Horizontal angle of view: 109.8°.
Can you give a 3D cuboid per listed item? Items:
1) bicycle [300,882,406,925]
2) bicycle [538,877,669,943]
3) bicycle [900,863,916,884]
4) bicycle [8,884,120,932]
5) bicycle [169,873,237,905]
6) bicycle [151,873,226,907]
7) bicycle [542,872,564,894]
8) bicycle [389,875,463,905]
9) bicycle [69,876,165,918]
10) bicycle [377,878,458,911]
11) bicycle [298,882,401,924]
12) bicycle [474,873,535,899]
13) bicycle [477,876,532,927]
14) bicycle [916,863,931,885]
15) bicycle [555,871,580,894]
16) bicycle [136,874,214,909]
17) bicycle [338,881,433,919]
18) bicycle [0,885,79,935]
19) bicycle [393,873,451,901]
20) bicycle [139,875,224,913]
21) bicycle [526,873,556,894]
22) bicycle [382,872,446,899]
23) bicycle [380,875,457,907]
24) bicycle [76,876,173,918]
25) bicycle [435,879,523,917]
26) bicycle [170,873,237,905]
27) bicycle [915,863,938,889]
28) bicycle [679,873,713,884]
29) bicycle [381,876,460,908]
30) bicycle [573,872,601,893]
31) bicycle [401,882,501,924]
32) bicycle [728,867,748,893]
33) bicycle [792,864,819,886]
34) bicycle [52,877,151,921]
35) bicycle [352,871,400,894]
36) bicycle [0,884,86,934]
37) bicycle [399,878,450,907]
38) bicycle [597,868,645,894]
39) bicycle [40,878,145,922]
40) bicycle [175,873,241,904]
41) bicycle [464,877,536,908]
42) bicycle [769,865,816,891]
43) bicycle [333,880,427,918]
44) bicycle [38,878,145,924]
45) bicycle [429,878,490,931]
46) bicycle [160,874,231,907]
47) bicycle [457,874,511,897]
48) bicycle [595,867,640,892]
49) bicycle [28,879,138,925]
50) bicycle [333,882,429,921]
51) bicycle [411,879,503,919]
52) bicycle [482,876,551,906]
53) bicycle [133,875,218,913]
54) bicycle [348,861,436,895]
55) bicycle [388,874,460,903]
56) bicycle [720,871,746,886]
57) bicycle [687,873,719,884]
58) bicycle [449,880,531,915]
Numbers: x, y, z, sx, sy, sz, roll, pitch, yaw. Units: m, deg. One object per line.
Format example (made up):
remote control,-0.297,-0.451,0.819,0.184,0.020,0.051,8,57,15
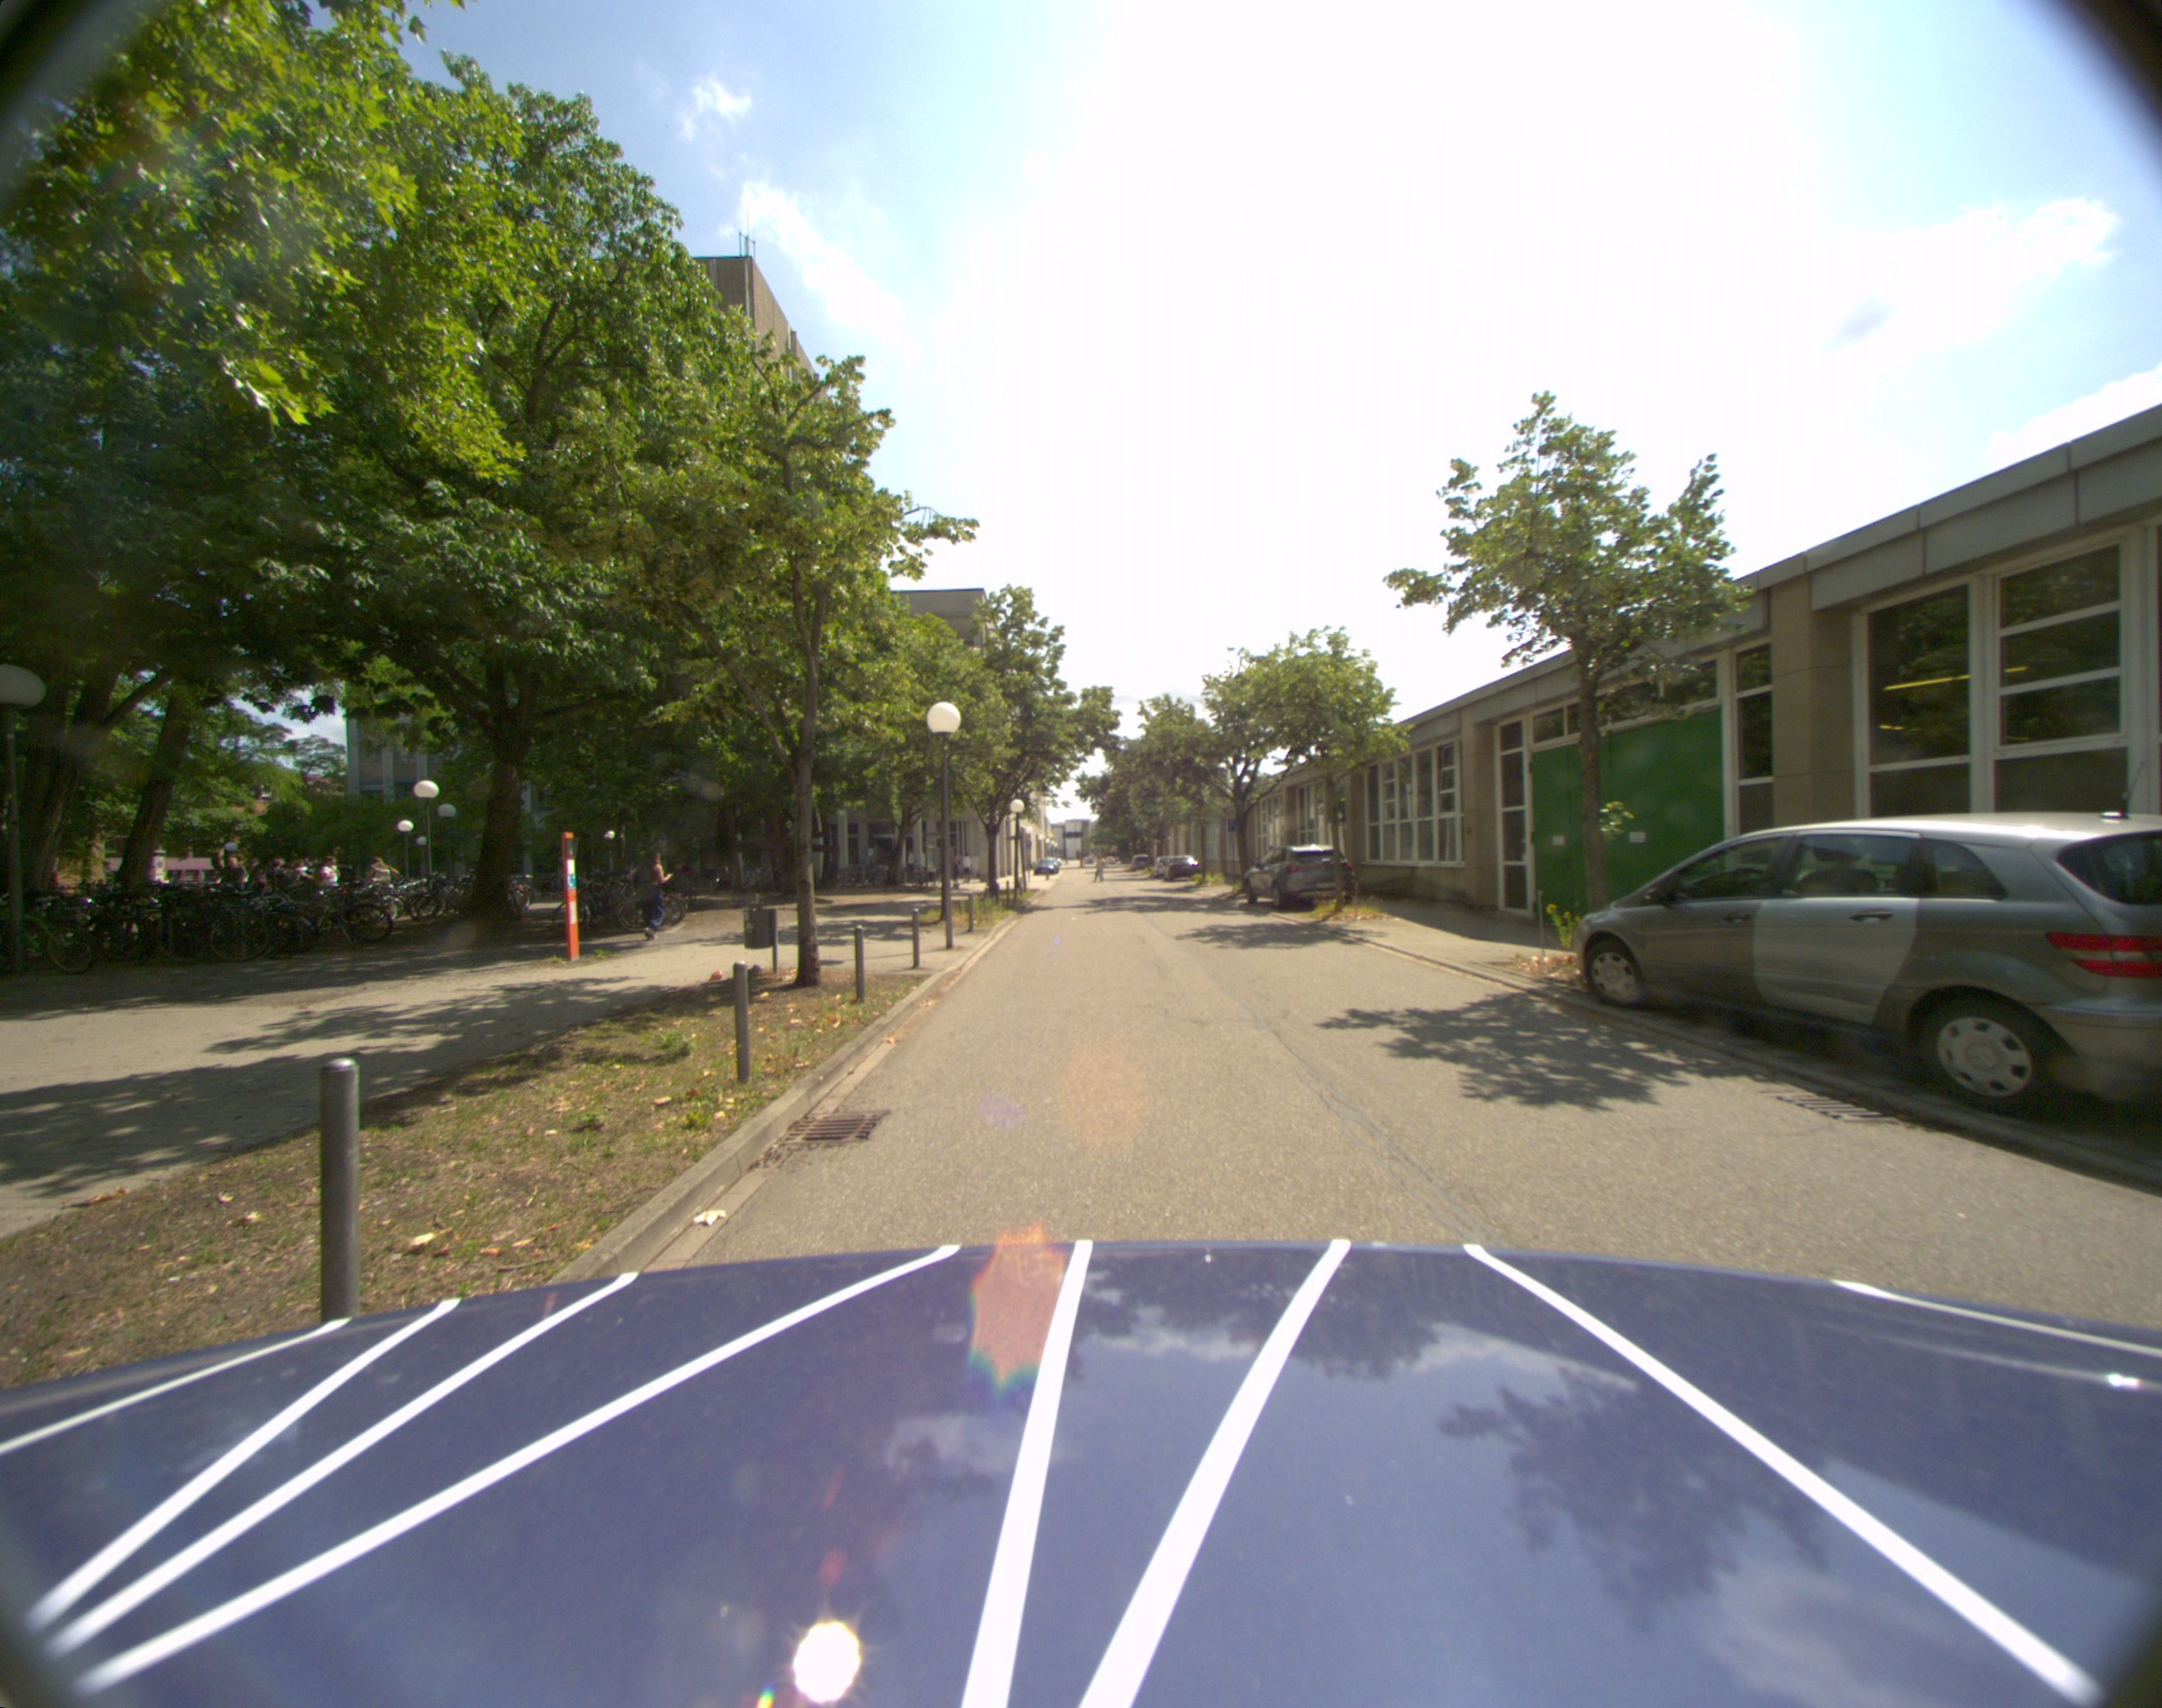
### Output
bicycle,-18.633,1.251,19.509,1.907,0.973,0.477,-1,1,-39
bicycle,-9.175,1.061,14.683,2.021,1.160,0.651,-1,0,-12
bicycle,-9.470,1.066,41.632,0.561,1.134,1.490,0,-1,-2
bicycle,-24.630,1.286,18.431,1.614,1.087,0.347,0,1,-29
bicycle,-32.274,1.284,27.966,0.347,1.087,1.615,0,1,41
bicycle,-30.237,1.222,25.765,1.614,1.087,0.347,-1,1,-37
bicycle,-26.945,1.473,38.769,0.353,1.077,1.470,-2,0,-12
bicycle,-22.884,1.249,26.574,1.907,0.973,0.378,0,1,-30
bicycle,-26.581,1.182,20.976,1.614,1.087,0.347,0,1,-29
bicycle,-21.387,1.291,24.524,1.907,0.973,0.378,0,1,-30
bicycle,-19.003,1.254,19.793,1.907,0.973,0.377,-1,1,-39
bicycle,-23.084,1.270,30.459,1.907,0.973,0.477,-1,1,-38
bicycle,-13.416,1.073,17.722,0.479,1.076,1.900,-1,0,-20
bicycle,-8.544,1.062,41.378,0.561,1.135,1.489,0,1,-2
bicycle,-25.976,1.440,38.455,0.352,1.077,1.471,-1,0,-3
bicycle,-29.908,1.221,25.114,1.614,1.087,0.347,-1,1,-37
bicycle,-19.248,1.261,21.087,1.907,0.973,0.377,-1,1,-39
bicycle,-24.328,1.281,17.392,1.614,1.087,0.477,0,1,-29
bicycle,-24.522,1.205,28.286,1.600,0.973,0.403,-1,1,-39
bicycle,-27.373,1.190,23.154,1.614,1.087,0.347,-1,1,-35
bicycle,-29.263,1.578,41.209,0.478,1.077,1.688,-4,-1,-5
bicycle,-25.884,1.192,29.508,0.377,0.973,1.806,0,1,44
bicycle,-22.127,1.222,25.421,1.907,0.973,0.378,0,1,-30
bicycle,-26.754,1.183,21.288,1.614,1.087,0.477,0,1,-29
bicycle,-17.165,1.239,21.721,1.907,0.973,0.477,0,1,-30
bicycle,-32.535,1.280,28.194,0.347,1.087,1.615,0,1,41
bicycle,-7.147,1.014,35.111,0.629,1.078,1.684,-4,3,-23
bicycle,-27.215,1.757,53.741,1.990,0.755,0.643,0,-1,-10
bicycle,-21.606,1.232,24.885,1.907,0.973,0.378,0,1,-30
bicycle,-26.977,1.564,41.529,0.478,1.077,1.688,-4,-1,-5
bicycle,-16.088,1.228,19.453,0.477,0.973,1.908,0,1,42
bicycle,-15.560,1.185,34.471,0.476,1.103,1.665,-2,2,-36
bicycle,-14.077,1.069,38.882,0.463,1.071,1.829,0,-1,8
bicycle,-26.186,1.188,20.340,1.614,1.087,0.347,0,1,-29
bicycle,-36.014,1.458,38.835,0.477,1.077,1.691,-4,-1,37
bicycle,-24.558,1.279,17.696,1.614,1.087,0.477,0,1,-29
bicycle,-26.492,1.542,30.683,0.352,1.077,1.474,-4,0,35
bicycle,-21.315,1.238,35.217,1.849,1.163,0.412,-1,0,-39
bicycle,-26.012,1.188,20.033,1.614,1.087,0.477,0,1,-29
bicycle,-32.932,1.276,28.677,0.347,1.087,1.615,0,1,41
bicycle,-19.628,1.297,25.709,1.907,0.973,0.378,0,1,-30
bicycle,-13.367,1.087,35.242,1.928,1.103,0.631,-2,2,-36
bicycle,-19.847,1.270,21.567,1.907,0.973,0.477,-1,1,-39
bicycle,-25.450,1.197,19.574,1.614,1.087,0.477,0,1,-29
bicycle,-14.121,1.125,17.316,0.479,1.076,1.900,-1,0,-20
bicycle,-31.800,1.288,27.314,0.347,1.087,1.614,0,1,34
bicycle,-27.311,1.441,34.796,1.907,0.973,0.477,-1,1,-37
bicycle,-22.632,1.222,37.127,1.849,1.163,0.412,-1,0,-39
bicycle,-25.273,1.198,19.269,1.614,1.087,0.477,0,1,-29
bicycle,-19.044,1.274,20.722,1.907,0.973,0.377,-1,1,-39
bicycle,-16.990,1.207,20.707,1.908,0.973,0.477,-1,1,-41
bicycle,-19.919,1.288,26.831,0.377,0.973,1.908,0,1,40
bicycle,-28.200,1.237,23.691,1.614,1.087,0.477,-1,1,-37
bicycle,-20.517,0.696,22.672,1.907,0.973,0.378,0,1,-30
bicycle,-23.424,1.206,27.132,1.907,0.973,0.378,0,1,-30
bicycle,-22.772,1.612,49.712,0.447,0.894,1.779,-2,-1,19
bicycle,-27.130,1.769,54.538,1.990,0.755,0.643,0,-1,-10
bicycle,-17.802,1.295,22.916,1.907,0.973,0.477,-1,1,-39
